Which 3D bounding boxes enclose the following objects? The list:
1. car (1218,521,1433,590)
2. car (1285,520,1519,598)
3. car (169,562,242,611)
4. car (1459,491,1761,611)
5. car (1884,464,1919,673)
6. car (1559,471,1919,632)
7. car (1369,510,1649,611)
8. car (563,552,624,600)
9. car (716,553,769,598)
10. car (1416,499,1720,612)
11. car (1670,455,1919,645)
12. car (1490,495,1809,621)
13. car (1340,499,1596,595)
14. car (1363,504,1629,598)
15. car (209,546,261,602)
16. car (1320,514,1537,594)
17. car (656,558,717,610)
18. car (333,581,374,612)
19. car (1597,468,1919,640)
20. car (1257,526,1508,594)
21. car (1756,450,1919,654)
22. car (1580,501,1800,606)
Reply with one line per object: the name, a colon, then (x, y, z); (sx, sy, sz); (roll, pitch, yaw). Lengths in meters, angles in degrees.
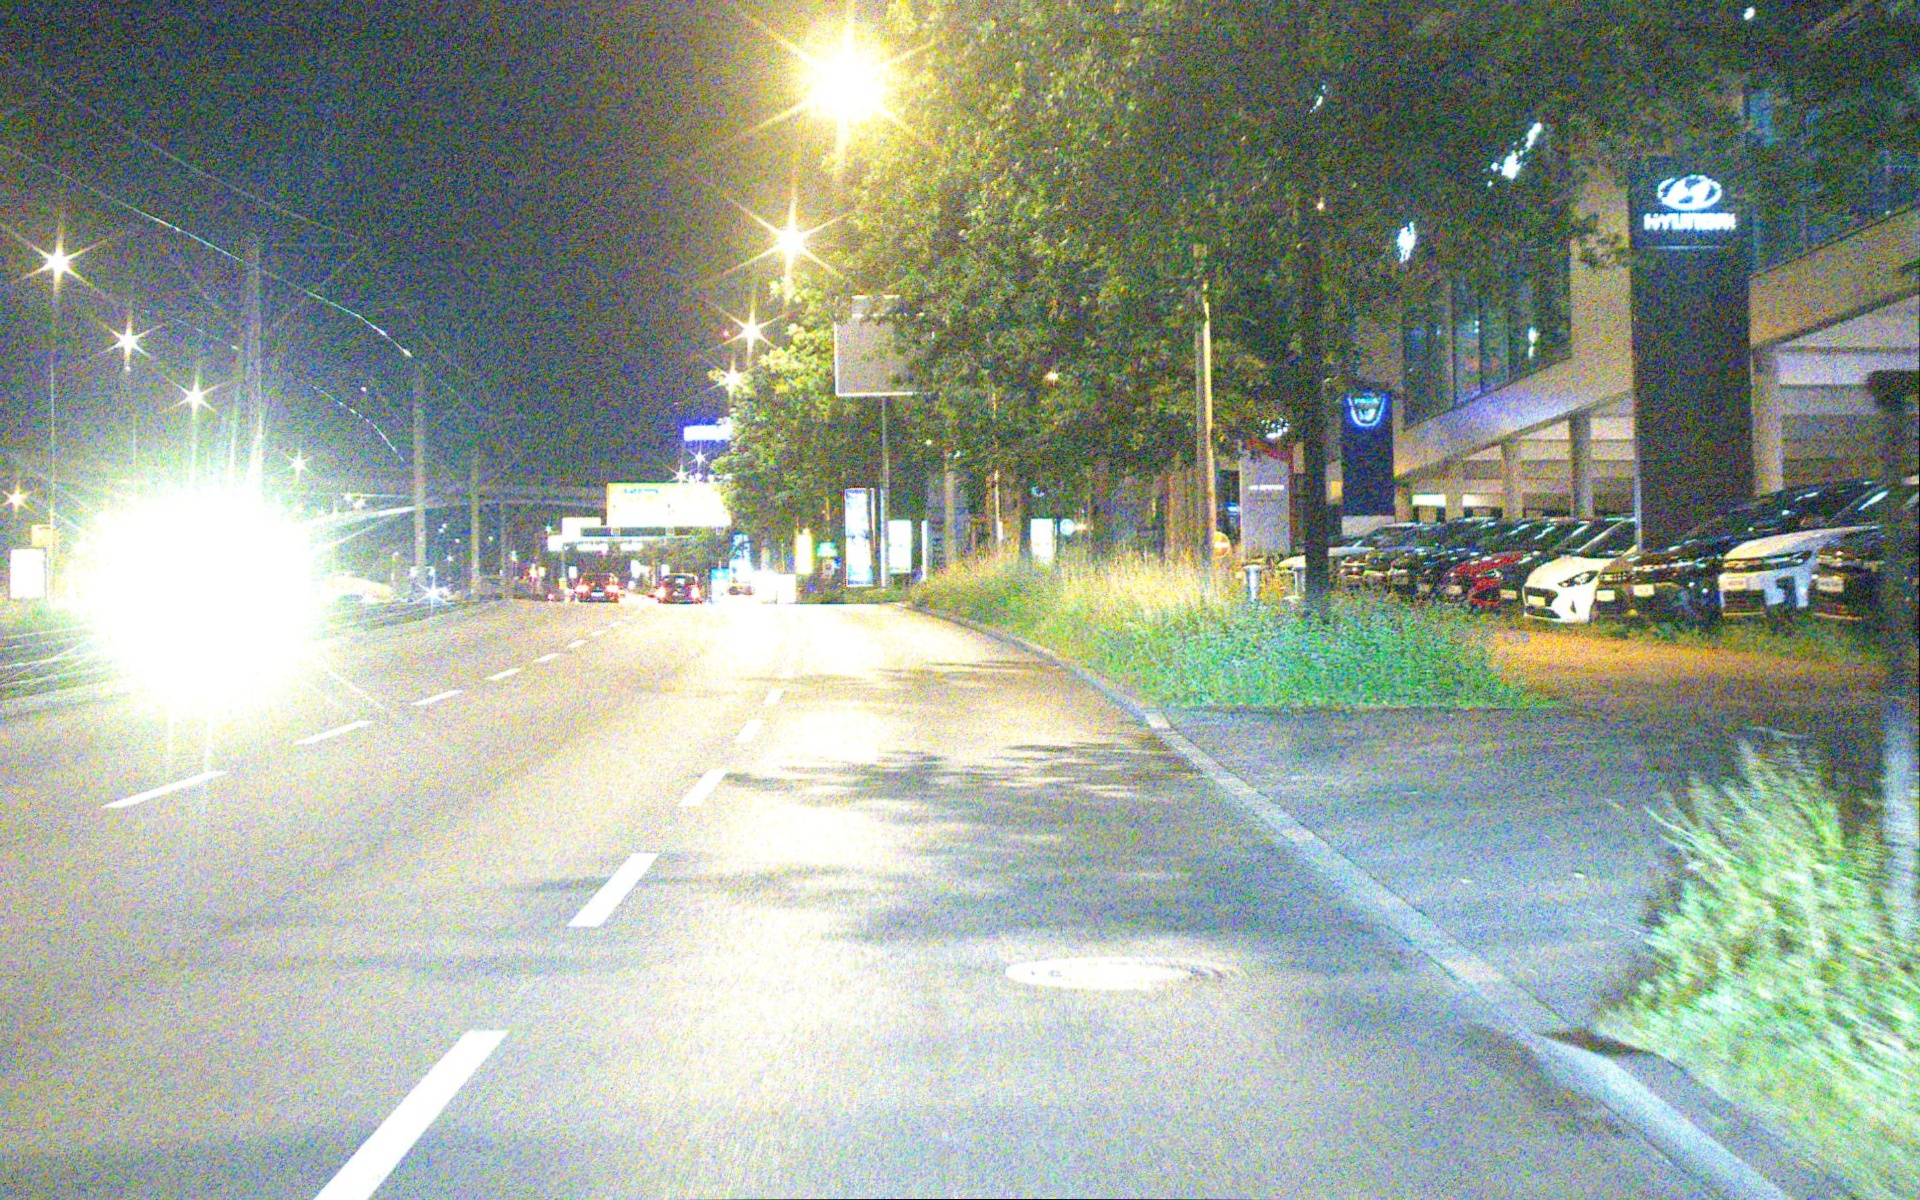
car: (7.755, -0.939, 73.061); (4.120, 1.415, 1.877); (0, 0, -15)
car: (8.401, -0.801, 65.385); (3.986, 1.419, 1.910); (-1, 2, -19)
car: (-26.738, -0.479, 121.925); (1.779, 1.707, 4.227); (0, 0, -2)
car: (9.246, -0.698, 48.951); (3.766, 1.374, 1.717); (-5, 2, -15)
car: (9.747, -0.369, 27.191); (4.201, 1.657, 1.962); (-4, 1, -12)
car: (9.677, -0.601, 41.248); (4.459, 1.542, 1.770); (-5, 1, -11)
car: (8.762, -0.645, 54.994); (3.986, 1.376, 1.809); (-3, 2, -12)
car: (-15.321, -1.005, 143.969); (2.262, 2.007, 4.826); (0, 0, -3)
car: (-10.326, -1.186, 163.720); (2.427, 2.106, 4.826); (0, 0, -3)
car: (9.123, -0.668, 51.621); (4.022, 1.369, 1.826); (-5, 2, -18)
car: (9.789, -0.614, 35.037); (4.459, 1.681, 2.001); (-5, 2, -12)
car: (9.311, -0.580, 46.485); (3.801, 1.448, 1.718); (-4, 2, -16)
car: (8.891, -0.930, 60.182); (3.986, 1.465, 1.833); (-3, 1, -21)
car: (8.925, -0.838, 57.262); (3.986, 1.387, 1.827); (-3, 3, -24)
car: (-36.944, -1.294, 175.039); (2.145, 2.662, 6.964); (-3, 0, -15)
car: (8.539, -0.831, 62.645); (3.601, 1.428, 1.680); (0, 0, -25)
car: (-11.312, -0.671, 142.568); (2.356, 2.122, 4.826); (0, 0, -3)
car: (-33.153, -0.188, 188.027); (1.993, 1.589, 4.001); (-2, 1, -7)
car: (9.326, -0.542, 37.760); (4.079, 1.563, 1.855); (-5, 2, -12)
car: (8.375, -0.809, 68.076); (4.628, 1.260, 1.948); (-1, 2, -27)
car: (10.010, -0.554, 32.238); (4.459, 1.804, 2.001); (-3, 2, -12)
car: (13.972, -0.865, 65.976); (1.584, 1.790, 3.867); (0, -2, -42)
